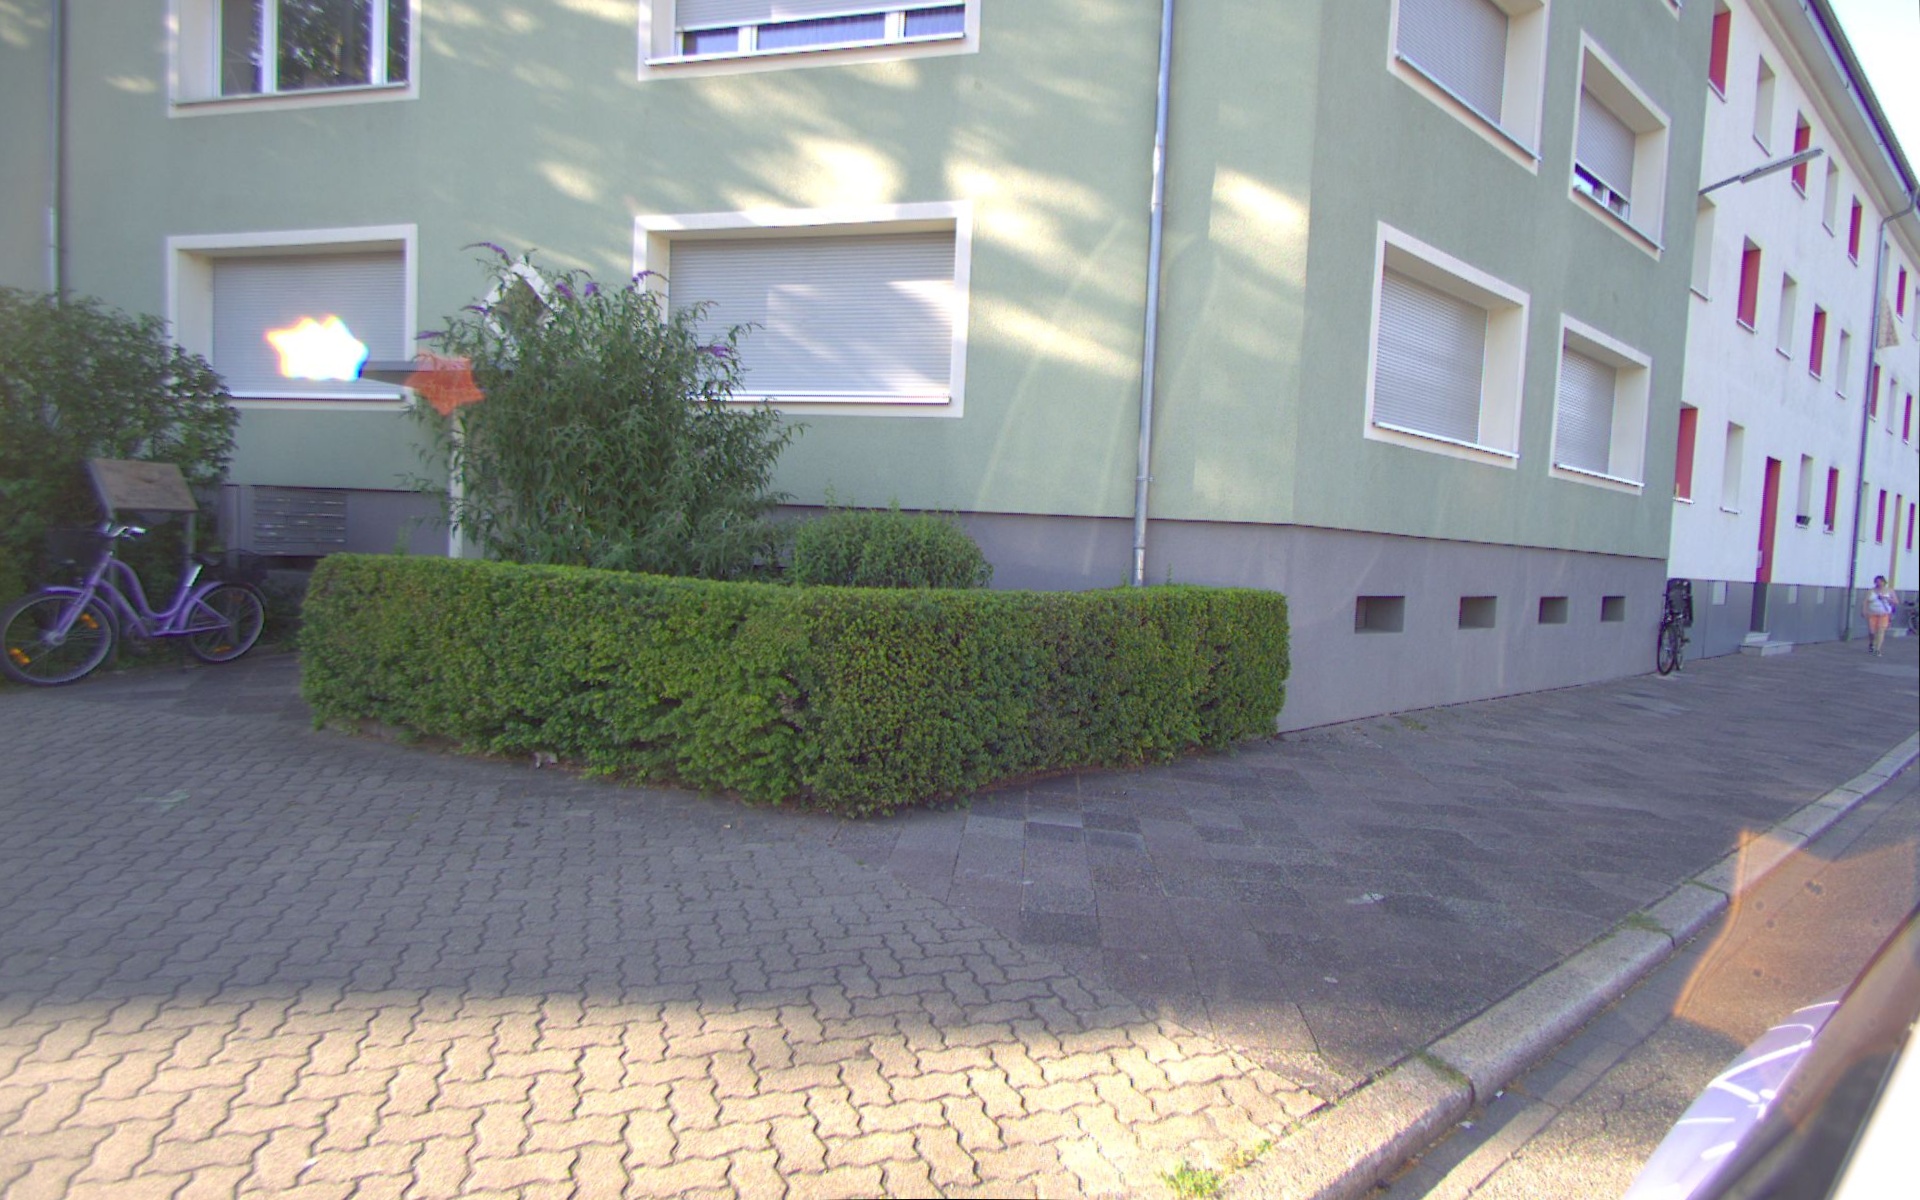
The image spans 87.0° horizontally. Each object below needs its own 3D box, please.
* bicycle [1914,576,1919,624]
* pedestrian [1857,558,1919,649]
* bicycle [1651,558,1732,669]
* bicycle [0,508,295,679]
[{"bbox_3d":[29.430,0.009,30.740,1.843,1.429,0.517,-1,4,-44],"label":"bicycle"},{"bbox_3d":[18.775,0.058,20.406,0.933,1.727,0.787,0,4,-41],"label":"pedestrian"},{"bbox_3d":[10.132,0.159,13.991,1.843,1.429,0.517,-1,4,-44],"label":"bicycle"},{"bbox_3d":[-5.911,-0.086,7.289,0.515,1.069,1.920,3,3,22],"label":"bicycle"}]
